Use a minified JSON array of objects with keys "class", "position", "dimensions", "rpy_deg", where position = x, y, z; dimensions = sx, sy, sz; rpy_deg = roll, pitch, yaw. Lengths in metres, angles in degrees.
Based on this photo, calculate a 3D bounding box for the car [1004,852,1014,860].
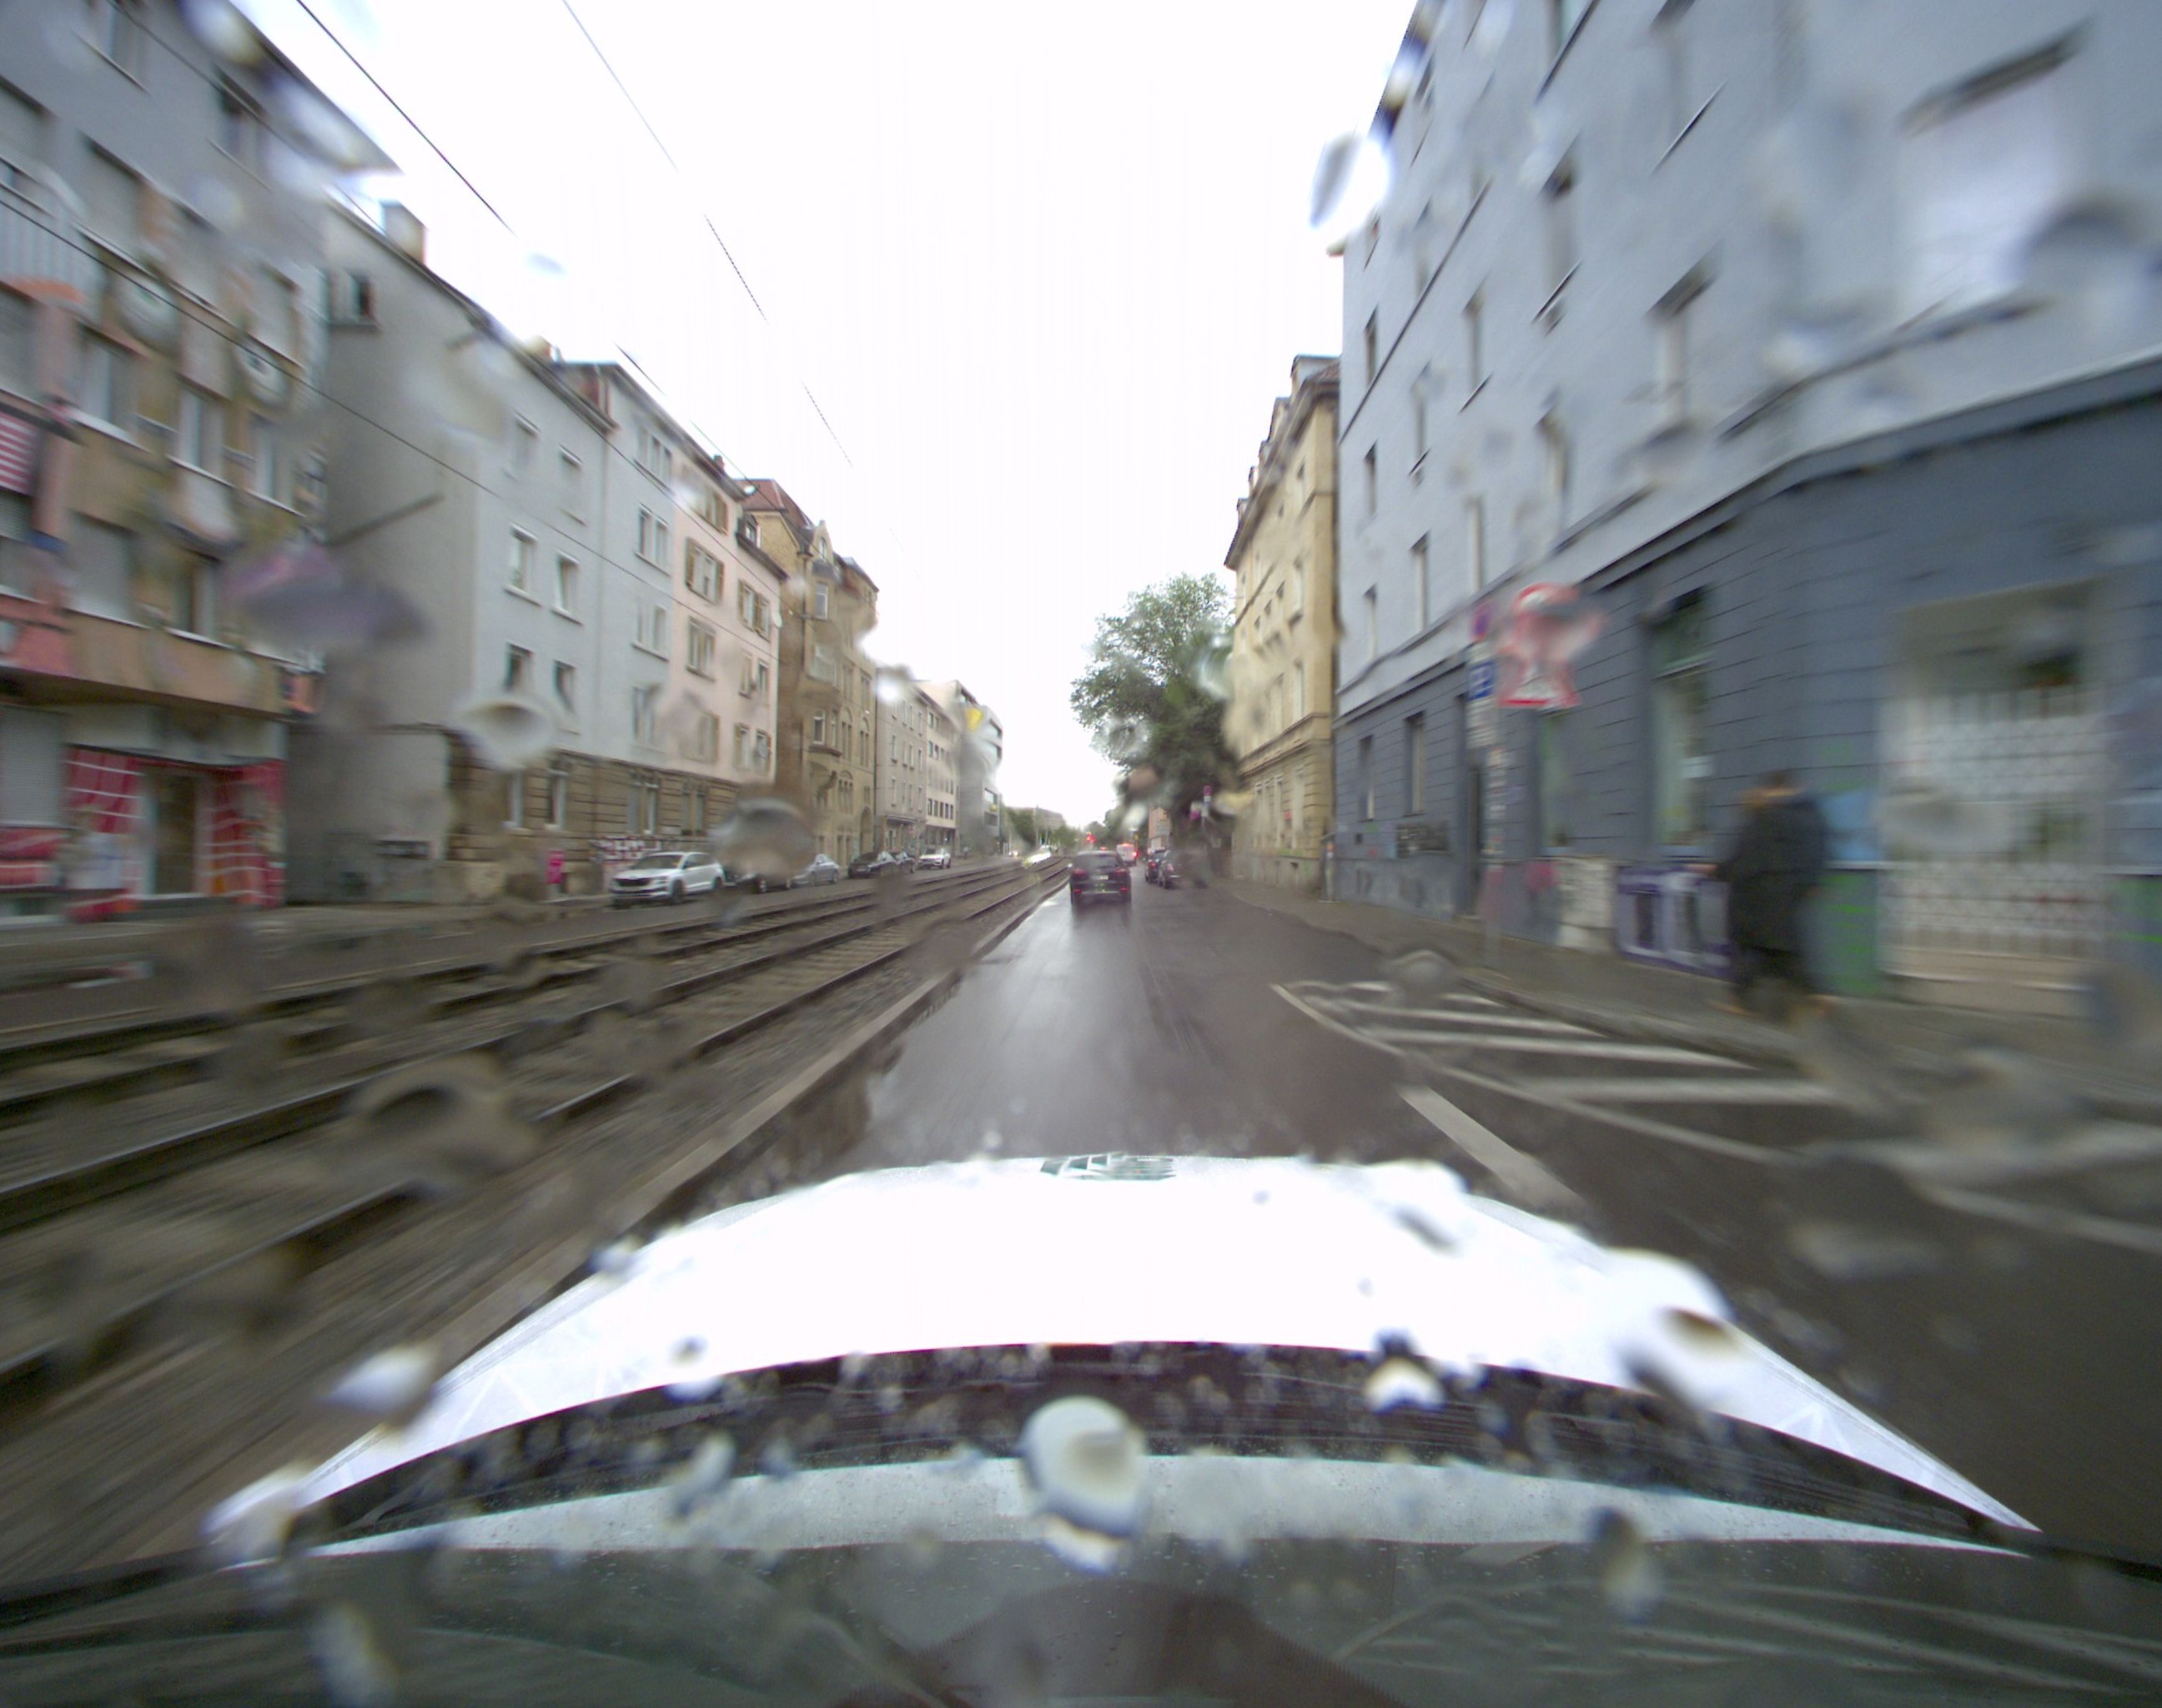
[{"class":"car","position":[-14.450,0.433,163.013],"dimensions":[1.991,1.442,3.991],"rpy_deg":[1,0,-6]}]

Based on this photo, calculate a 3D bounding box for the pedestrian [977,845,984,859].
[{"class":"pedestrian","position":[-12.926,-0.242,104.573],"dimensions":[0.741,1.854,0.839],"rpy_deg":[0,-2,1]}]

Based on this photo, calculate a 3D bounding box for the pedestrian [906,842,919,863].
[{"class":"pedestrian","position":[-13.766,-0.127,66.493],"dimensions":[0.799,1.750,0.984],"rpy_deg":[1,-1,1]}]

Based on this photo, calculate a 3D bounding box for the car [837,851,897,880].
[{"class":"car","position":[-12.070,0.624,46.251],"dimensions":[1.986,1.519,4.677],"rpy_deg":[1,0,2]}]

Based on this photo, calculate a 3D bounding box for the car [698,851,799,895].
[{"class":"car","position":[-12.550,0.691,31.026],"dimensions":[1.986,1.519,4.210],"rpy_deg":[1,0,2]}]

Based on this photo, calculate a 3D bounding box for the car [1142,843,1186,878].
[{"class":"car","position":[3.748,0.282,37.243],"dimensions":[1.637,1.516,4.039],"rpy_deg":[1,0,1]}]

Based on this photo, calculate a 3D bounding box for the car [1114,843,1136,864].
[{"class":"car","position":[3.952,-0.054,73.713],"dimensions":[1.986,1.816,4.273],"rpy_deg":[0,-1,2]}]

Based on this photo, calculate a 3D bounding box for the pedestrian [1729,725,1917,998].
[{"class":"pedestrian","position":[5.823,0.054,6.442],"dimensions":[0.733,2.013,0.821],"rpy_deg":[1,0,1]}]

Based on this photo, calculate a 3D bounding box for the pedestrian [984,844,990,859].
[{"class":"pedestrian","position":[-12.054,-0.293,104.567],"dimensions":[0.741,1.854,0.839],"rpy_deg":[0,-2,1]}]

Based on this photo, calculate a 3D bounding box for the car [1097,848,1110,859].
[{"class":"car","position":[3.691,-0.067,131.445],"dimensions":[1.986,1.594,4.273],"rpy_deg":[0,-1,2]}]

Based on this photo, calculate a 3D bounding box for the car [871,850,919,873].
[{"class":"car","position":[-12.020,0.475,52.836],"dimensions":[1.986,1.376,4.240],"rpy_deg":[1,0,2]}]

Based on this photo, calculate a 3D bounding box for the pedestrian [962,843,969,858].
[{"class":"pedestrian","position":[-13.970,-0.400,98.334],"dimensions":[0.741,1.854,0.839],"rpy_deg":[0,-2,1]}]

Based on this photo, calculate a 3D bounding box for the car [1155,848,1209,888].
[{"class":"car","position":[3.944,0.501,32.388],"dimensions":[1.732,1.489,4.001],"rpy_deg":[1,0,1]}]

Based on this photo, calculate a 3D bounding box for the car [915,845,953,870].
[{"class":"car","position":[-11.493,0.298,64.071],"dimensions":[1.987,1.839,5.071],"rpy_deg":[1,0,1]}]

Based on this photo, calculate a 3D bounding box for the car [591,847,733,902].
[{"class":"car","position":[-12.797,0.584,25.251],"dimensions":[1.986,1.519,4.436],"rpy_deg":[1,0,2]}]

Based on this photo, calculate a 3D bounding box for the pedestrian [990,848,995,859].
[{"class":"pedestrian","position":[-14.889,-0.098,137.767],"dimensions":[0.741,1.854,0.839],"rpy_deg":[0,-2,1]}]

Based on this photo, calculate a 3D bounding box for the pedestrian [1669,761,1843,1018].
[{"class":"pedestrian","position":[5.174,0.256,6.295],"dimensions":[0.659,1.852,0.821],"rpy_deg":[1,0,1]}]

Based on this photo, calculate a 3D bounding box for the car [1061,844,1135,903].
[{"class":"car","position":[0.540,0.564,24.088],"dimensions":[1.986,1.594,4.273],"rpy_deg":[0,-1,2]}]

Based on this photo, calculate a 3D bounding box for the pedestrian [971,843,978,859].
[{"class":"pedestrian","position":[-12.845,-0.357,98.428],"dimensions":[0.741,1.854,0.839],"rpy_deg":[0,-2,1]}]

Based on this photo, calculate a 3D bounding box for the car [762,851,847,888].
[{"class":"car","position":[-12.291,0.651,36.578],"dimensions":[1.986,1.519,4.993],"rpy_deg":[1,0,2]}]
